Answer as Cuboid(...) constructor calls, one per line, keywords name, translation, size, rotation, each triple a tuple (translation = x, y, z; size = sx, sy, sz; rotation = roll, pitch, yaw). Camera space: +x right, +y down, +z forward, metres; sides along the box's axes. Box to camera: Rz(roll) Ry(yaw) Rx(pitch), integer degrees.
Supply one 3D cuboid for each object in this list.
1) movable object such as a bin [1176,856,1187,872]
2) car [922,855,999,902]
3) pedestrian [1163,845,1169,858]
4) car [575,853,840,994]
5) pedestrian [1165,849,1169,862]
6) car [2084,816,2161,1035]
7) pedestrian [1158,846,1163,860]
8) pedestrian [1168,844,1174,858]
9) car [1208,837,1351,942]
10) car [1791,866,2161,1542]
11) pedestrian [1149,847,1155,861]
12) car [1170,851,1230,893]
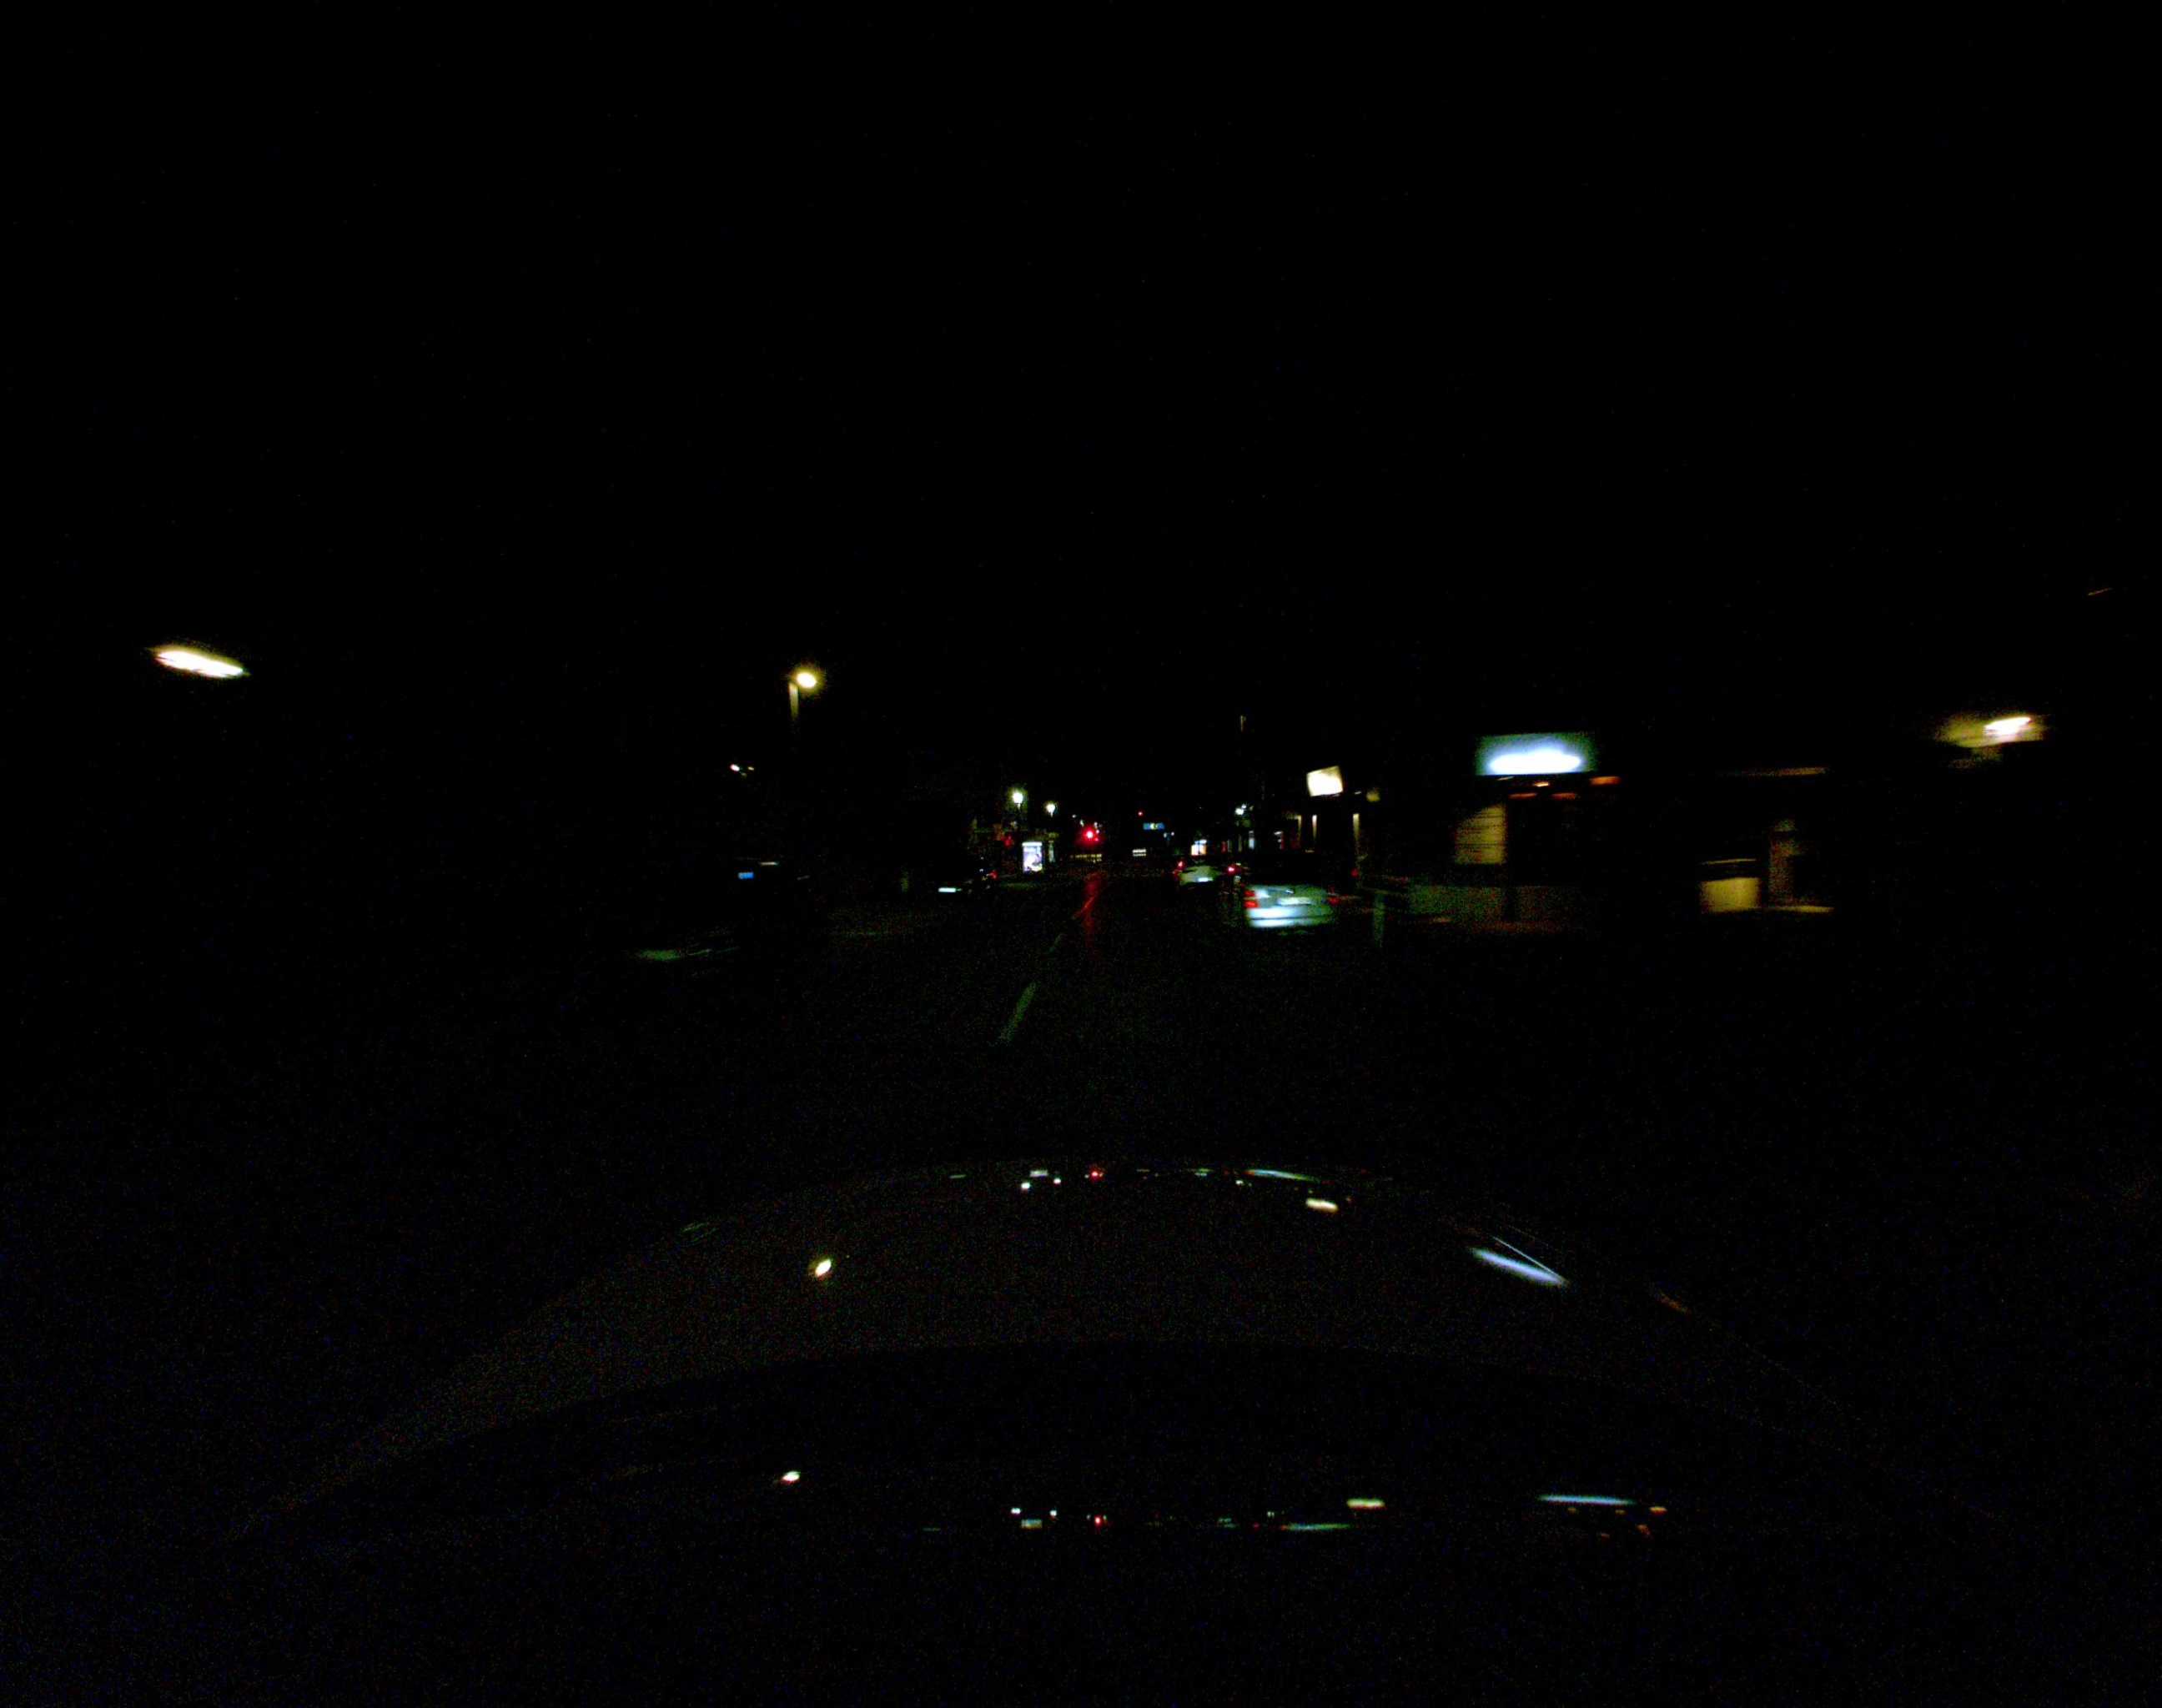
Cuboid(name="movable object such as a bin", translation=(6.065, 0.622, 49.097), size=(0.523, 0.937, 0.628), rotation=(0, -1, -4))
Cuboid(name="car", translation=(-4.004, 0.766, 27.759), size=(1.684, 1.436, 4.133), rotation=(1, 0, 5))
Cuboid(name="pedestrian", translation=(11.313, -0.324, 108.180), size=(0.570, 1.795, 0.713), rotation=(1, -1, -21))
Cuboid(name="car", translation=(-4.578, 0.781, 10.644), size=(1.686, 1.524, 3.691), rotation=(0, -1, 1))
Cuboid(name="pedestrian", translation=(11.648, 0.239, 110.392), size=(0.565, 1.795, 0.719), rotation=(0, -1, 4))
Cuboid(name="car", translation=(9.824, 0.473, 6.437), size=(4.080, 1.585, 1.691), rotation=(-1, 0, -29))
Cuboid(name="pedestrian", translation=(10.604, -0.093, 108.332), size=(0.565, 1.795, 0.719), rotation=(0, -1, 3))
Cuboid(name="pedestrian", translation=(11.889, -0.433, 107.773), size=(0.731, 1.795, 0.719), rotation=(0, -1, 5))
Cuboid(name="car", translation=(3.569, 0.578, 15.427), size=(1.780, 1.641, 4.383), rotation=(-3, 0, 3))
Cuboid(name="car", translation=(3.205, 0.771, 0.543), size=(1.774, 1.437, 4.290), rotation=(1, 0, 0))
Cuboid(name="pedestrian", translation=(9.342, 0.000, 107.203), size=(0.711, 1.795, 0.571), rotation=(0, -1, 14))
Cuboid(name="car", translation=(4.518, 0.646, 31.506), size=(1.849, 1.442, 4.598), rotation=(-2, 0, 3))
